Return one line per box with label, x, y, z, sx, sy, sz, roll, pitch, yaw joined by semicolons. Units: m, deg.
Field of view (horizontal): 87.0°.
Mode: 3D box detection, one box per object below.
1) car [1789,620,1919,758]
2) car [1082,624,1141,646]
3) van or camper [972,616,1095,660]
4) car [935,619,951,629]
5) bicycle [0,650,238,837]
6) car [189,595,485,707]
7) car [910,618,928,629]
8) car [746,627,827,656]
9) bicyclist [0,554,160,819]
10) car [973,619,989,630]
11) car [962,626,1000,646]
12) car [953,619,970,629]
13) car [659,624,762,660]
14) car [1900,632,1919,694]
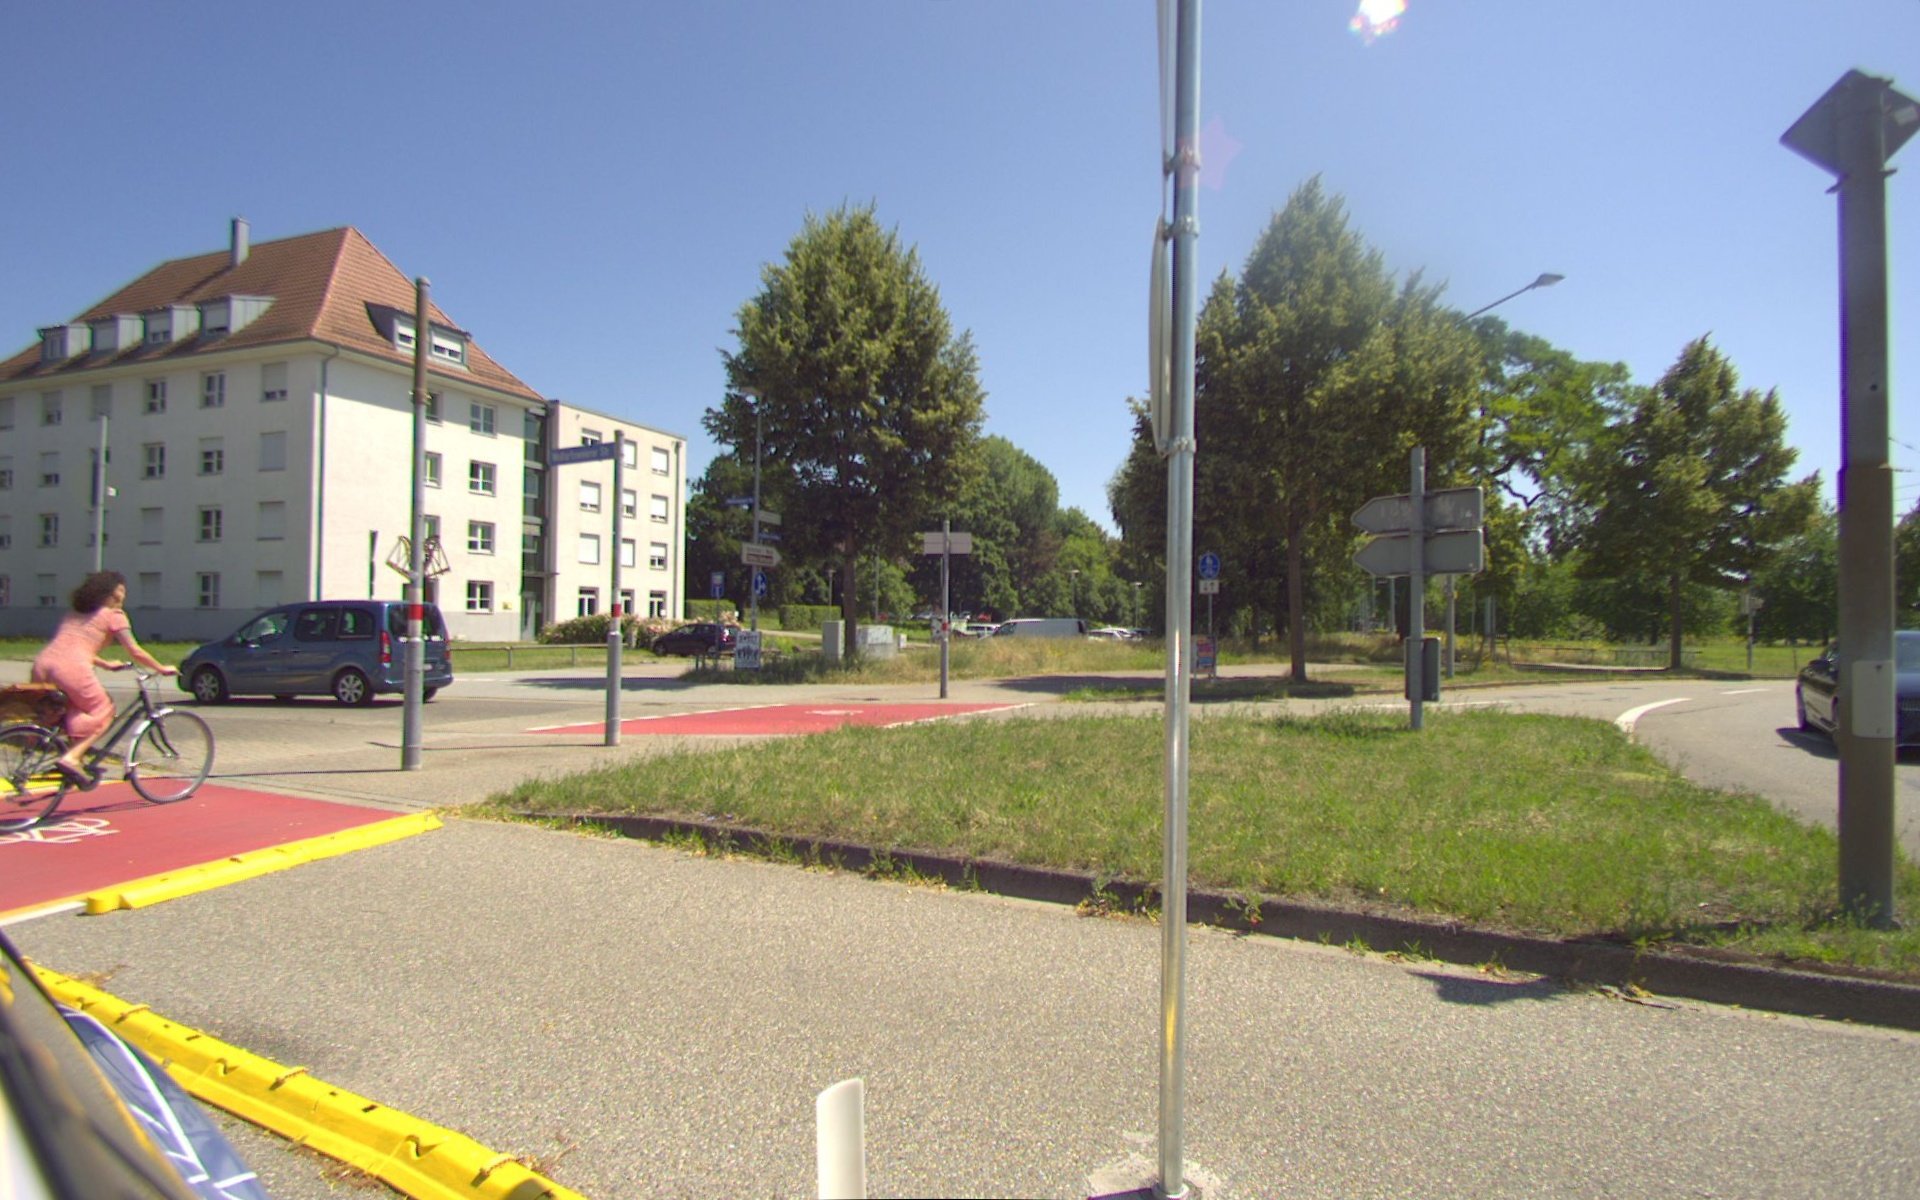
car;11.709;1.000;12.515;1.854;1.447;4.896;-1;-2;35
car;9.256;2.158;61.861;3.369;1.291;1.343;0;-2;30
van or camper;3.333;1.697;46.008;5.236;1.871;1.986;0;-2;22
car;-2.311;3.276;138.736;1.466;1.427;3.011;0;-1;17
bicycle;-6.041;0.934;6.911;0.434;1.066;2.081;1;0;11
car;-10.531;0.854;17.245;4.156;1.783;1.685;0;-3;8
car;-5.606;3.261;138.758;1.466;1.427;3.011;0;-1;17
car;-7.943;1.883;46.421;3.490;1.227;1.346;0;-2;23
bicyclist;-6.021;0.548;6.837;0.640;1.676;0.707;1;0;14
car;2.829;3.283;136.581;1.466;1.427;3.011;0;-1;17
car;1.517;2.583;72.228;2.518;1.368;1.073;0;-2;29
car;0.198;3.285;137.579;1.466;1.427;3.011;0;-1;17
car;-10.052;1.673;40.792;3.782;1.337;1.647;0;-2;23
car;25.322;1.534;24.615;4.936;1.465;1.832;1;-2;-25
